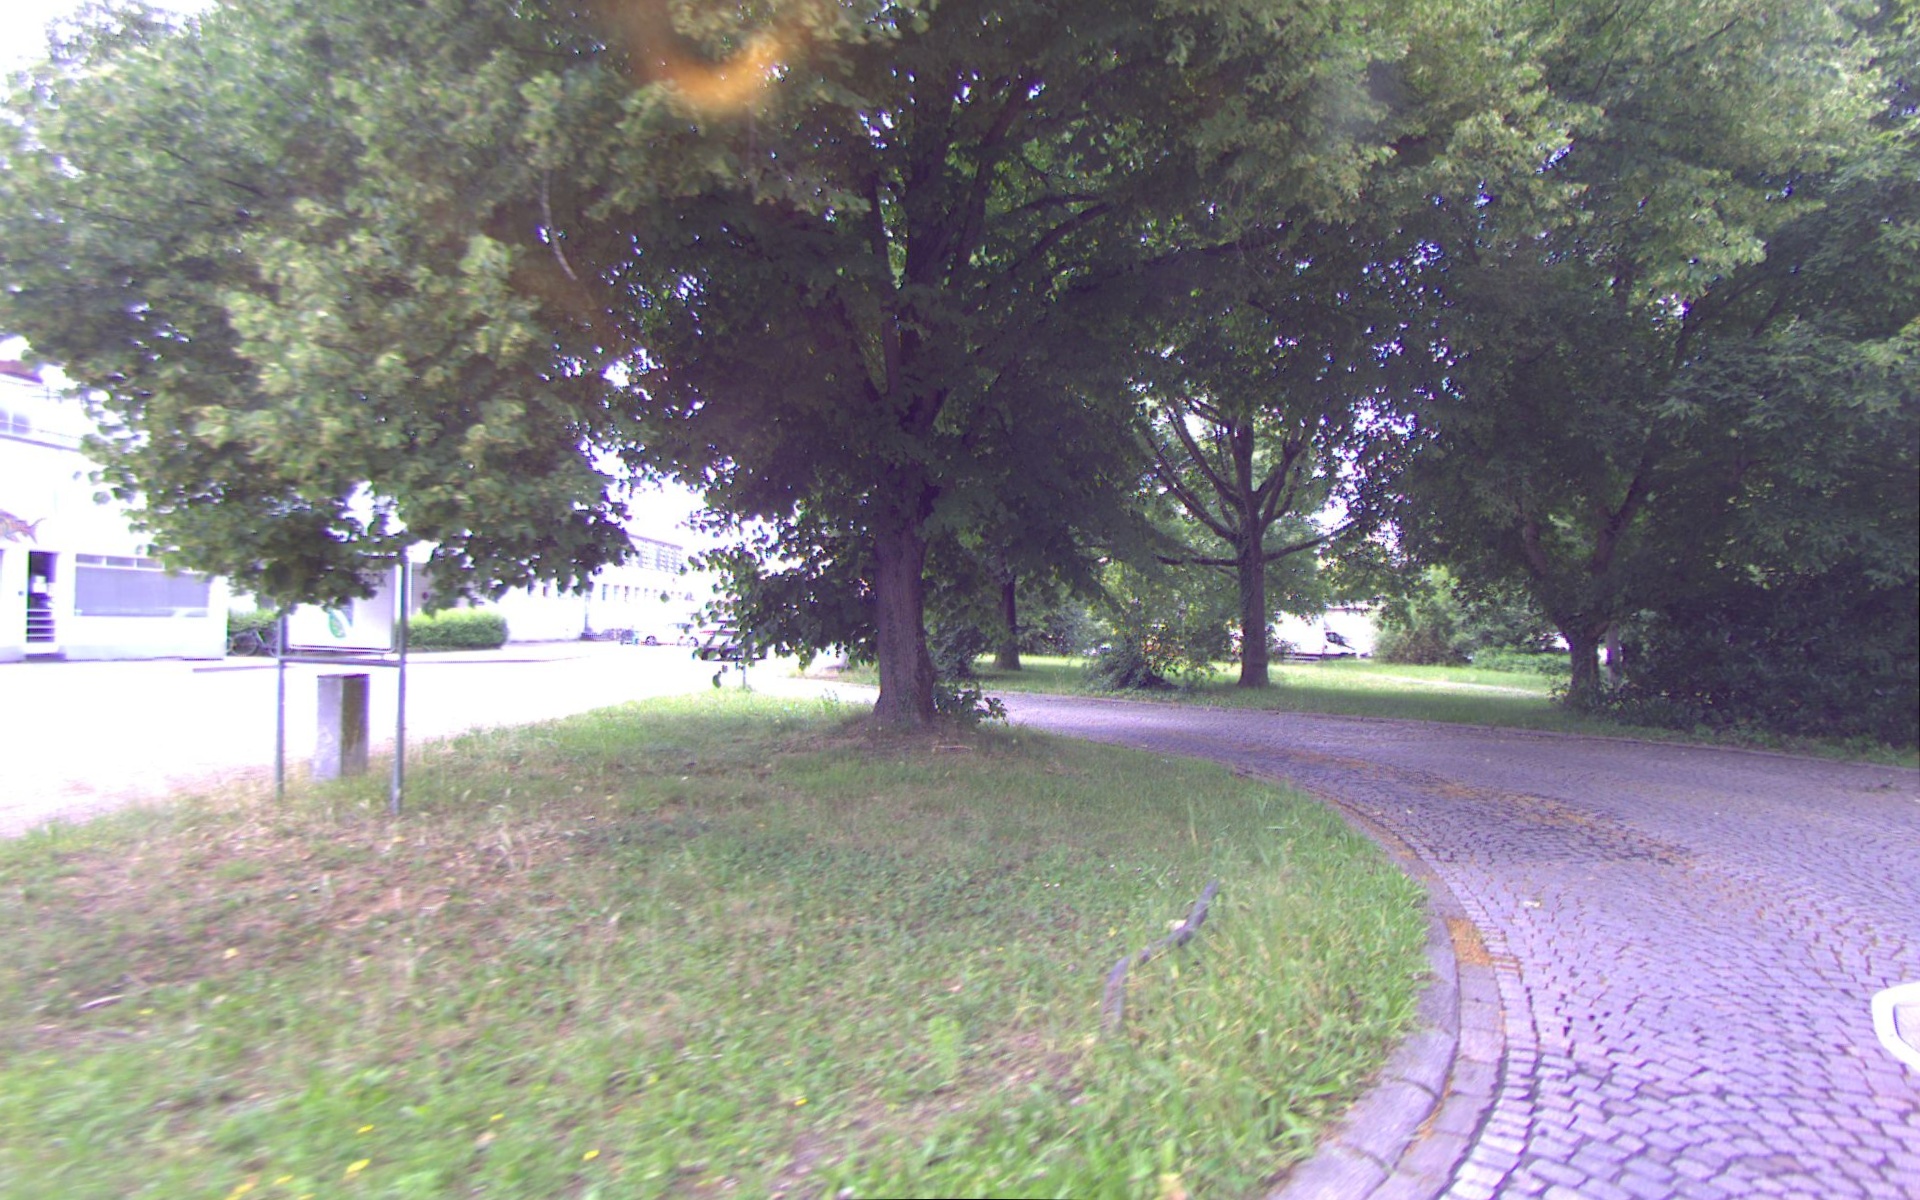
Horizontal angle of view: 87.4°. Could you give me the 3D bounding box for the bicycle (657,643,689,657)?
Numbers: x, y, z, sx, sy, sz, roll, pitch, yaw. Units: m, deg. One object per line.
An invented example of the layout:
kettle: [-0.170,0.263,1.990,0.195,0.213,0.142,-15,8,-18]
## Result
bicycle: [-16.571,2.883,57.972,1.642,0.767,0.570,2,-2,-3]

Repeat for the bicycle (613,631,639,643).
bicycle: [-23.188,2.590,69.653,1.652,0.767,0.567,3,-2,-24]

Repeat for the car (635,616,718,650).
car: [-17.597,2.080,62.491,4.557,2.040,2.000,1,-2,-3]

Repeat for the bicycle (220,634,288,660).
bicycle: [-21.631,1.445,30.801,1.647,0.767,0.410,1,-1,-15]

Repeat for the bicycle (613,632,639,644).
bicycle: [-22.894,2.579,68.899,1.652,0.767,0.567,3,-2,-24]

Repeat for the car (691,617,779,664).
car: [-8.962,1.572,40.408,1.947,1.706,4.577,2,-1,8]
